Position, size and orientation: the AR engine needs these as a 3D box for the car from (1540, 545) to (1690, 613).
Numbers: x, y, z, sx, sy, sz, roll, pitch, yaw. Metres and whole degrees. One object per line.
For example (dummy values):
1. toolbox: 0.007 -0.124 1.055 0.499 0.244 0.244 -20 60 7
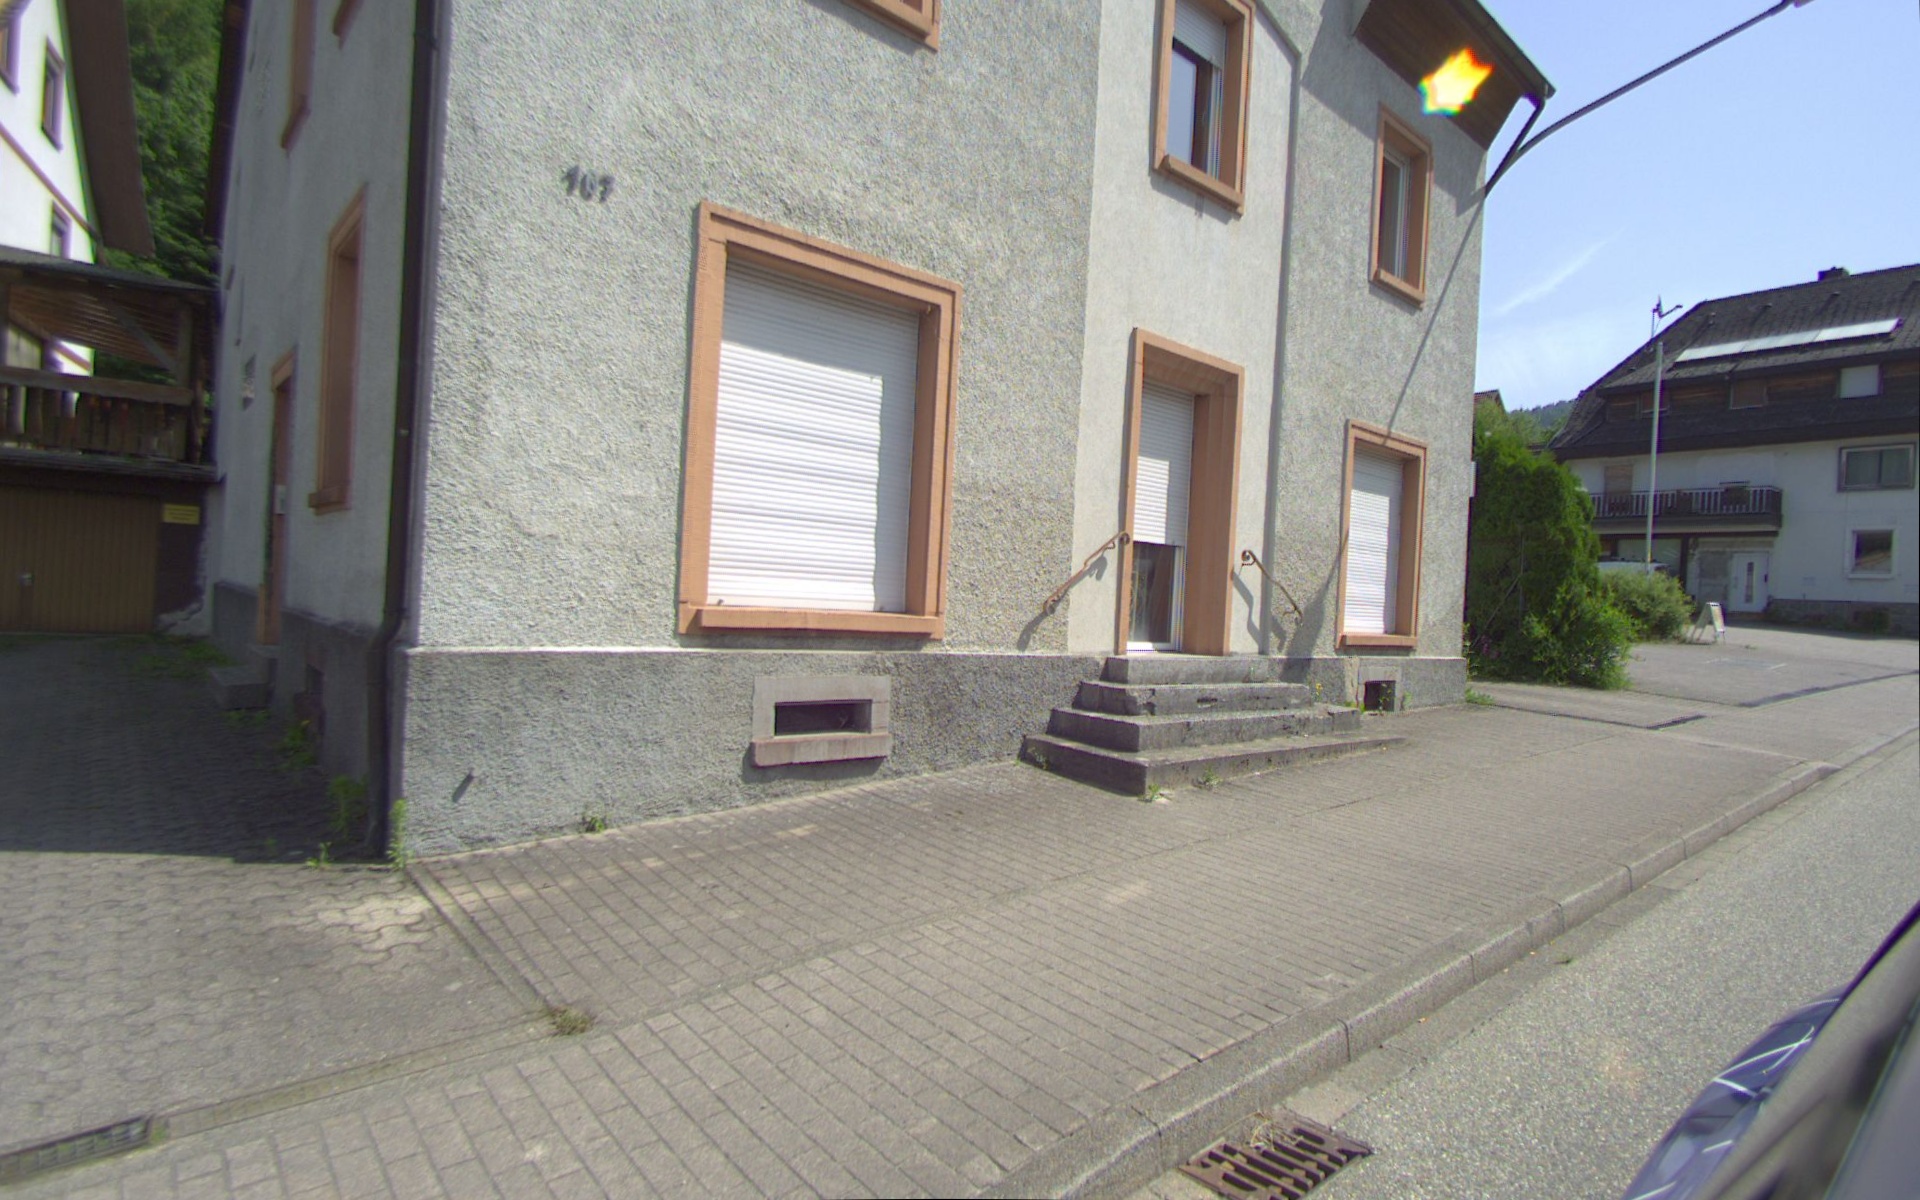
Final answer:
1. car: 23.137 -0.808 35.901 1.605 2.007 4.023 -1 7 -36
